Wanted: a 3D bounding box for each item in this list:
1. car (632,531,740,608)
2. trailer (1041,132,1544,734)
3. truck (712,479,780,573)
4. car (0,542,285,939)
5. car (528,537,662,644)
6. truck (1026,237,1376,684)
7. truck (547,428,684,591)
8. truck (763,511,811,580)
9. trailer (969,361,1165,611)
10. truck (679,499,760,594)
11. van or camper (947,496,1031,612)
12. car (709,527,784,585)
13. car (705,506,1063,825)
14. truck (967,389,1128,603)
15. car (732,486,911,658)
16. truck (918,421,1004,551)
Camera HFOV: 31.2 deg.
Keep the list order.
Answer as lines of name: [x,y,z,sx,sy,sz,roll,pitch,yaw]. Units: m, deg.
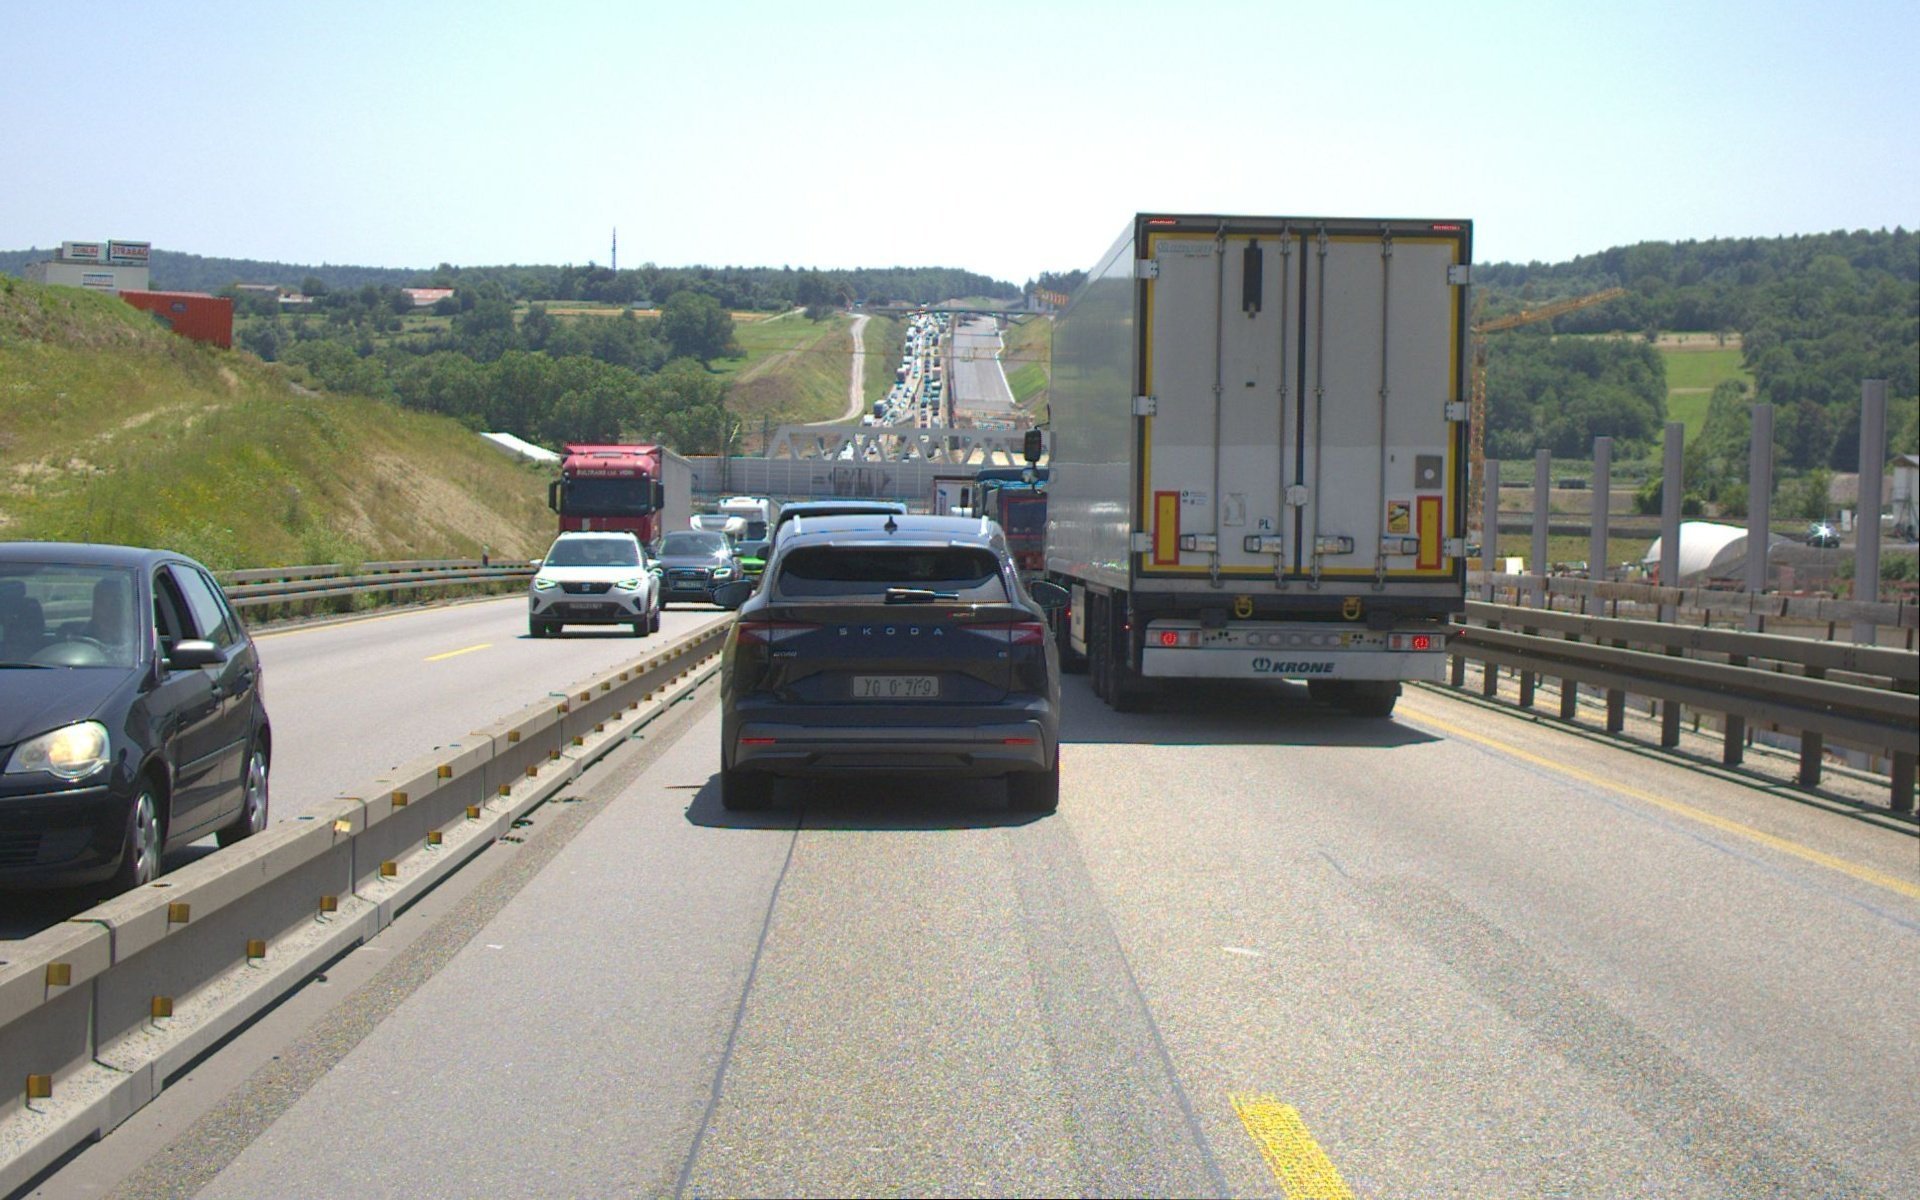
car: [-5.603,-0.637,70.714,1.993,1.525,4.000,0,1,-2]
trailer: [2.668,-1.417,32.531,3.180,4.497,13.110,1,1,-1]
truck: [-10.437,-3.533,168.641,2.852,4.323,11.918,1,0,-2]
car: [-3.961,0.474,14.300,1.665,1.408,3.818,1,1,-2]
car: [-5.394,-0.171,51.196,1.792,1.513,3.999,0,1,-3]
truck: [2.531,-1.515,39.025,3.180,4.497,8.166,1,1,-1]
truck: [-9.364,-2.340,94.659,2.852,4.125,11.918,1,0,-2]
truck: [-11.418,-3.549,227.718,2.852,4.323,11.918,1,0,-2]
trailer: [1.957,-2.067,69.944,3.180,4.498,14.967,1,0,-1]
truck: [-10.081,-2.180,145.290,2.852,3.769,11.918,1,0,-2]
van or camper: [0.889,-1.306,101.567,2.389,3.269,6.468,1,0,1]
car: [-5.750,-1.198,92.992,1.861,1.471,4.000,1,1,-2]
car: [-0.402,0.316,19.509,1.802,1.602,4.000,1,0,0]
truck: [1.863,-2.208,77.114,3.180,4.498,8.166,1,0,-1]
car: [-1.618,-0.311,41.039,1.993,1.919,4.508,1,0,-1]
truck: [-0.042,-4.202,129.843,2.852,4.450,11.918,1,0,-2]
